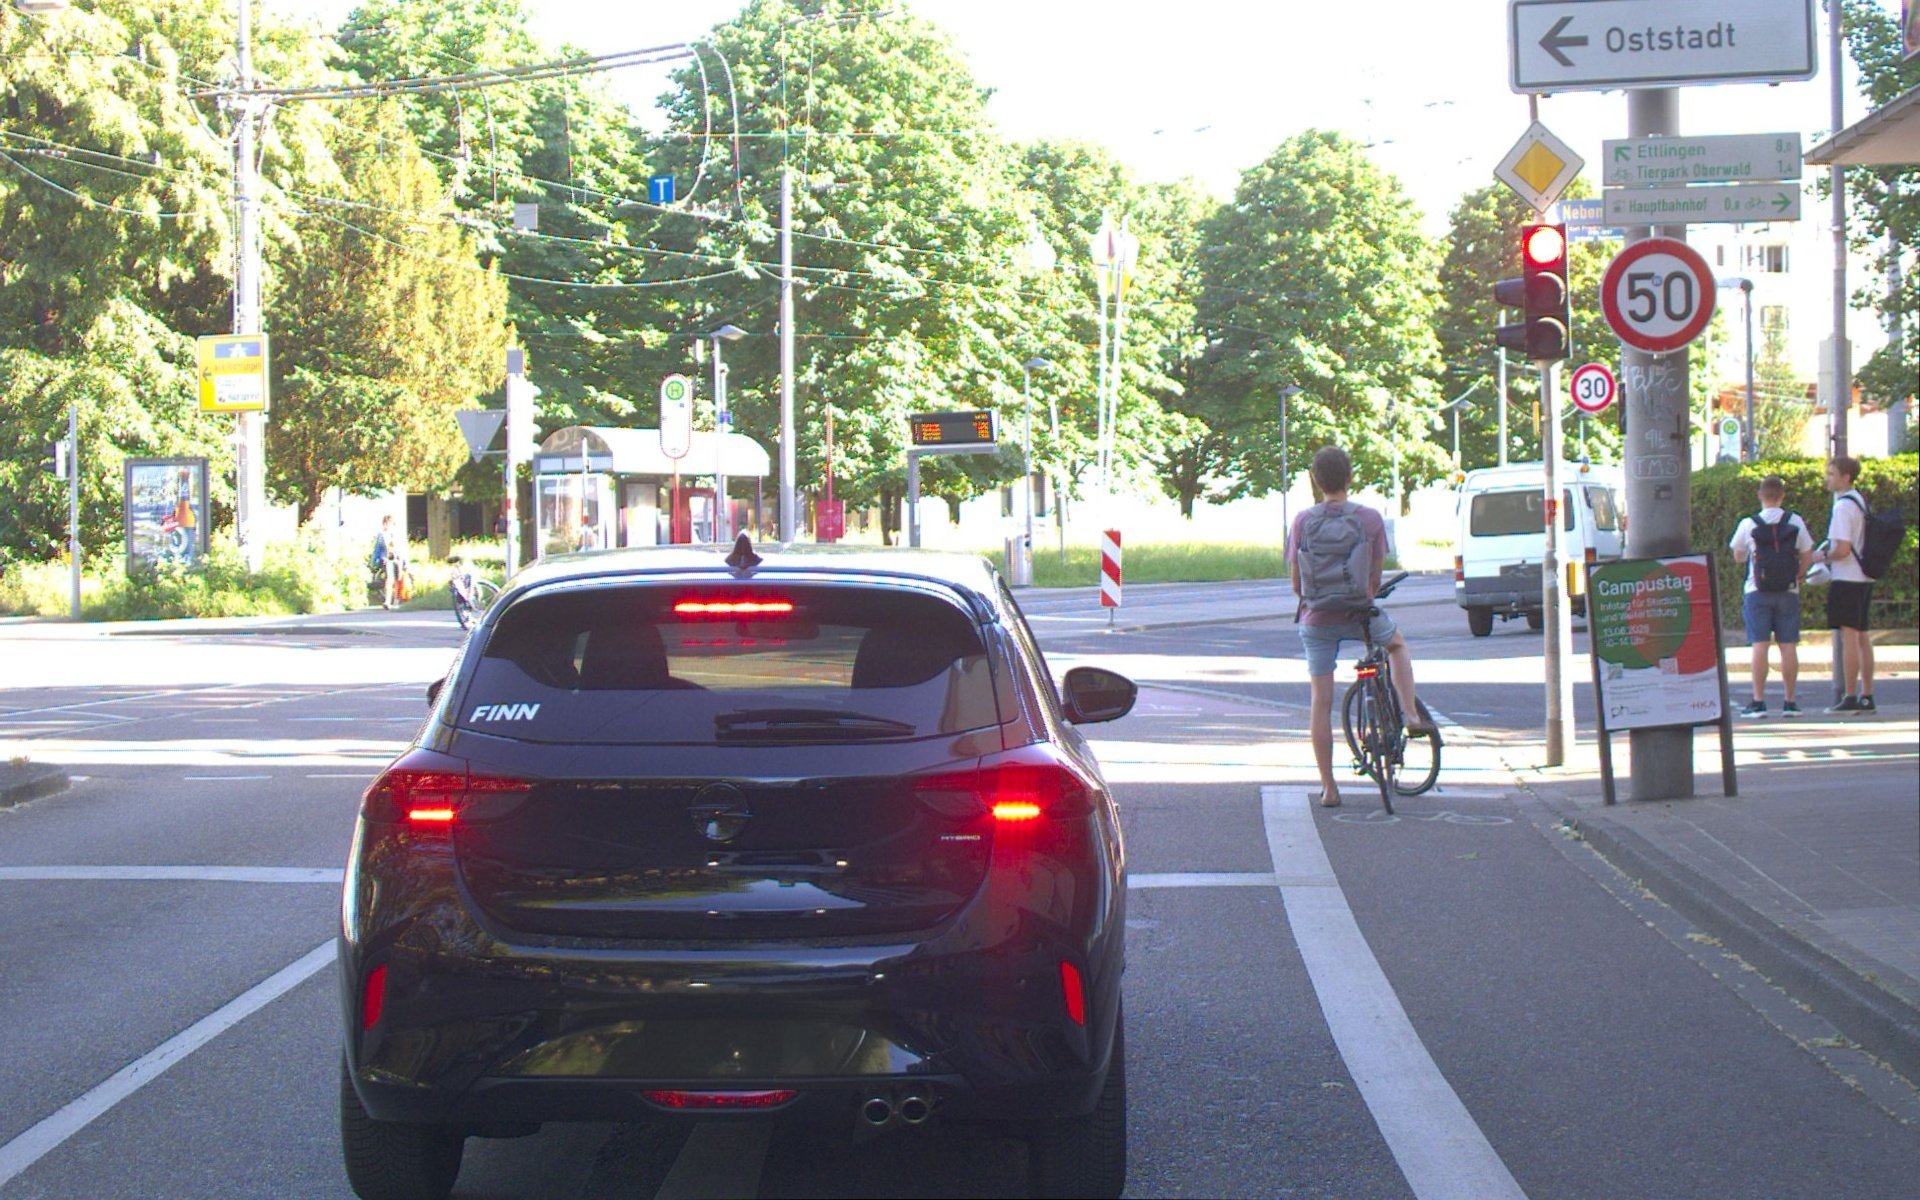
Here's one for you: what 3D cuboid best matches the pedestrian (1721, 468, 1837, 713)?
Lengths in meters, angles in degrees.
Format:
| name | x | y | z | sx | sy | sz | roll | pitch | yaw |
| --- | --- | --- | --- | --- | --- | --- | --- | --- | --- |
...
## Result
| name | x | y | z | sx | sy | sz | roll | pitch | yaw |
| --- | --- | --- | --- | --- | --- | --- | --- | --- | --- |
| pedestrian | 6.073 | -0.076 | 25.508 | 0.698 | 1.786 | 0.617 | -1 | 1 | -1 |

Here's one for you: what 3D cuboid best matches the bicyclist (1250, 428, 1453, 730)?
| name | x | y | z | sx | sy | sz | roll | pitch | yaw |
| --- | --- | --- | --- | --- | --- | --- | --- | --- | --- |
| bicyclist | 2.014 | -0.123 | 17.863 | 0.840 | 1.504 | 1.369 | 0 | 1 | -2 |

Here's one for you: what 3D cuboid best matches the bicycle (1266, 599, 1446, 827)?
| name | x | y | z | sx | sy | sz | roll | pitch | yaw |
| --- | --- | --- | --- | --- | --- | --- | --- | --- | --- |
| bicycle | 2.032 | 0.553 | 17.867 | 0.667 | 1.056 | 2.082 | 0 | 1 | -1 |

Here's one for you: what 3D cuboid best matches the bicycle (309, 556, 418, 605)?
| name | x | y | z | sx | sy | sz | roll | pitch | yaw |
| --- | --- | --- | --- | --- | --- | --- | --- | --- | --- |
| bicycle | -11.073 | -0.365 | 63.831 | 1.877 | 0.903 | 0.659 | 0 | 1 | 7 |

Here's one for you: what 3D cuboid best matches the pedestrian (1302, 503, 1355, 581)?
| name | x | y | z | sx | sy | sz | roll | pitch | yaw |
| --- | --- | --- | --- | --- | --- | --- | --- | --- | --- |
| pedestrian | 8.586 | -1.355 | 80.041 | 0.959 | 1.786 | 0.994 | 0 | 1 | 25 |

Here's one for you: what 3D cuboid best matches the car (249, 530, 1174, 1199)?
| name | x | y | z | sx | sy | sz | roll | pitch | yaw |
| --- | --- | --- | --- | --- | --- | --- | --- | --- | --- |
| car | -0.454 | 0.560 | 8.700 | 1.800 | 1.436 | 3.940 | -1 | 1 | 1 |

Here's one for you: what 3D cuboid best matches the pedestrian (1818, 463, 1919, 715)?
| name | x | y | z | sx | sy | sz | roll | pitch | yaw |
| --- | --- | --- | --- | --- | --- | --- | --- | --- | --- |
| pedestrian | 6.859 | -0.093 | 25.535 | 0.704 | 1.840 | 0.699 | 0 | 2 | 39 |

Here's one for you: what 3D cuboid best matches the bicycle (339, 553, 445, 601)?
| name | x | y | z | sx | sy | sz | roll | pitch | yaw |
| --- | --- | --- | --- | --- | --- | --- | --- | --- | --- |
| bicycle | -10.850 | -0.440 | 65.685 | 1.877 | 0.903 | 0.659 | 0 | 1 | 7 |

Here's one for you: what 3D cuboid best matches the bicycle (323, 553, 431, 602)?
| name | x | y | z | sx | sy | sz | roll | pitch | yaw |
| --- | --- | --- | --- | --- | --- | --- | --- | --- | --- |
| bicycle | -10.989 | -0.433 | 64.815 | 1.877 | 0.903 | 0.659 | 0 | 1 | 7 |

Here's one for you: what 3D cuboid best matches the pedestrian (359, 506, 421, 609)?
| name | x | y | z | sx | sy | sz | roll | pitch | yaw |
| --- | --- | --- | --- | --- | --- | --- | --- | --- | --- |
| pedestrian | -9.436 | -0.712 | 56.905 | 0.727 | 1.687 | 0.700 | 0 | 1 | 28 |

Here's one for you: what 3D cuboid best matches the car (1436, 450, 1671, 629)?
| name | x | y | z | sx | sy | sz | roll | pitch | yaw |
| --- | --- | --- | --- | --- | --- | --- | --- | --- | --- |
| car | 7.998 | -0.790 | 46.013 | 2.092 | 2.270 | 4.301 | 1 | 1 | 24 |

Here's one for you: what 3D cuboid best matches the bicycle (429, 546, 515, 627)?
| name | x | y | z | sx | sy | sz | roll | pitch | yaw |
| --- | --- | --- | --- | --- | --- | --- | --- | --- | --- |
| bicycle | -6.611 | -0.190 | 46.623 | 0.825 | 1.056 | 1.883 | 0 | 1 | 2 |
